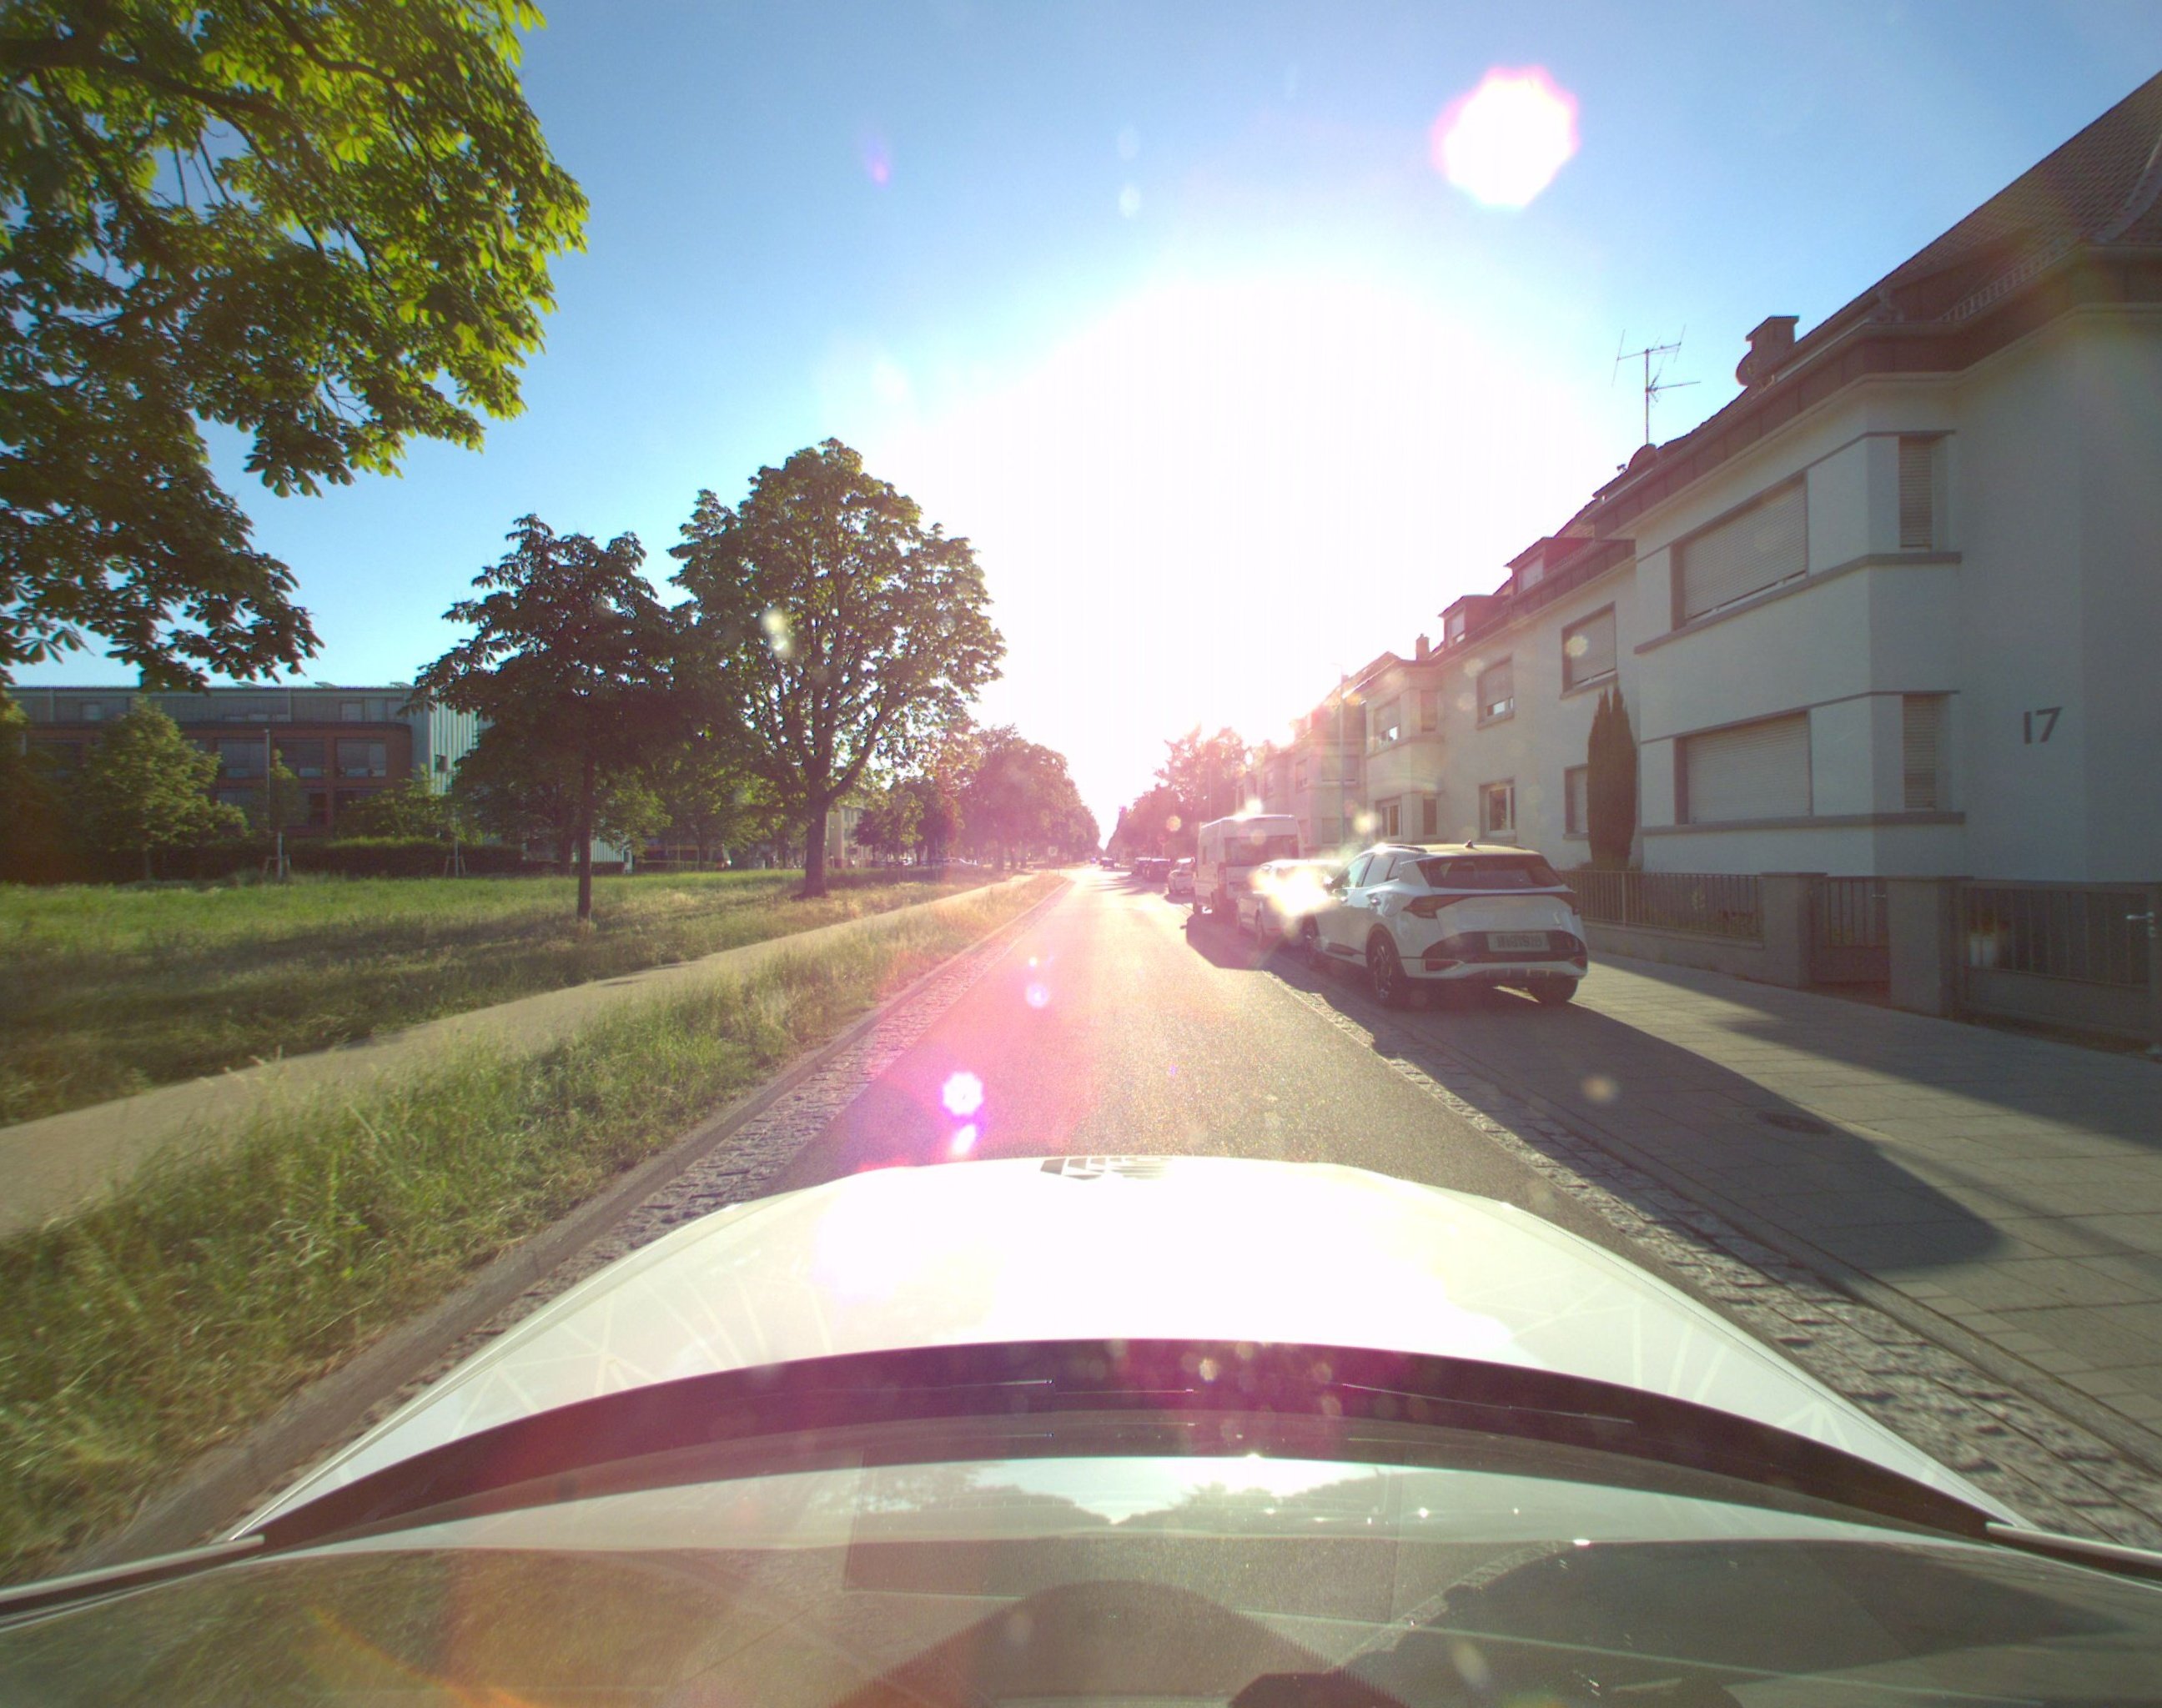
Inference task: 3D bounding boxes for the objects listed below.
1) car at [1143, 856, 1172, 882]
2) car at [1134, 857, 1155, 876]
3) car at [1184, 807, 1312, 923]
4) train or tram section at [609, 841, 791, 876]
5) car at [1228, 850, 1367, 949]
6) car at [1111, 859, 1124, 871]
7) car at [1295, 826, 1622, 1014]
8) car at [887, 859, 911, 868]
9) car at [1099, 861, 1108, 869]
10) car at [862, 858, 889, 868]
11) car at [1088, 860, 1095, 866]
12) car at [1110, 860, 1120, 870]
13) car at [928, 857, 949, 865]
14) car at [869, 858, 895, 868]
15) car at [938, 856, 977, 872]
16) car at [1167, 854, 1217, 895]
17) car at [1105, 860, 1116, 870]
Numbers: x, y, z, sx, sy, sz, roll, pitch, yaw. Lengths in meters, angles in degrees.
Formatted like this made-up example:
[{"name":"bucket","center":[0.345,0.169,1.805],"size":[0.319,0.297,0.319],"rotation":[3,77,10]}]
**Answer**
[{"name":"car","center":[4.897,0.938,52.569],"size":[1.643,1.530,3.853],"rotation":[-2,0,3]},{"name":"car","center":[5.407,1.068,69.538],"size":[1.643,1.530,3.853],"rotation":[-2,0,3]},{"name":"car","center":[4.059,0.264,20.796],"size":[2.120,2.533,5.187],"rotation":[-2,0,0]},{"name":"train or tram section","center":[-46.099,0.633,99.317],"size":[19.774,3.956,3.632],"rotation":[1,-1,-9]},{"name":"car","center":[3.777,0.724,14.845],"size":[1.643,1.530,3.853],"rotation":[-2,0,3]},{"name":"car","center":[4.825,1.415,108.434],"size":[1.643,1.530,3.853],"rotation":[-2,0,3]},{"name":"car","center":[3.941,0.600,9.390],"size":[1.831,1.636,4.130],"rotation":[-2,0,0]},{"name":"car","center":[-37.813,1.964,169.115],"size":[4.329,1.764,2.001],"rotation":[1,-1,2]},{"name":"car","center":[4.478,2.168,160.679],"size":[1.643,1.530,3.853],"rotation":[-2,0,3]},{"name":"car","center":[-37.691,1.673,149.618],"size":[4.329,1.764,2.001],"rotation":[1,-1,2]},{"name":"car","center":[2.879,2.618,231.709],"size":[1.803,1.530,3.853],"rotation":[-2,0,3]},{"name":"car","center":[5.903,1.889,140.838],"size":[1.643,1.530,3.853],"rotation":[-2,0,3]},{"name":"car","center":[-32.064,1.568,182.899],"size":[4.329,1.764,2.001],"rotation":[1,-1,2]},{"name":"car","center":[-38.015,1.758,155.506],"size":[4.329,1.764,2.001],"rotation":[1,-1,2]},{"name":"car","center":[-14.309,1.145,94.409],"size":[4.342,1.764,1.995],"rotation":[1,-1,-7]},{"name":"car","center":[4.494,0.806,33.418],"size":[1.643,1.530,3.853],"rotation":[-2,0,3]},{"name":"car","center":[4.550,1.669,126.875],"size":[1.643,1.530,3.853],"rotation":[-2,0,3]}]
